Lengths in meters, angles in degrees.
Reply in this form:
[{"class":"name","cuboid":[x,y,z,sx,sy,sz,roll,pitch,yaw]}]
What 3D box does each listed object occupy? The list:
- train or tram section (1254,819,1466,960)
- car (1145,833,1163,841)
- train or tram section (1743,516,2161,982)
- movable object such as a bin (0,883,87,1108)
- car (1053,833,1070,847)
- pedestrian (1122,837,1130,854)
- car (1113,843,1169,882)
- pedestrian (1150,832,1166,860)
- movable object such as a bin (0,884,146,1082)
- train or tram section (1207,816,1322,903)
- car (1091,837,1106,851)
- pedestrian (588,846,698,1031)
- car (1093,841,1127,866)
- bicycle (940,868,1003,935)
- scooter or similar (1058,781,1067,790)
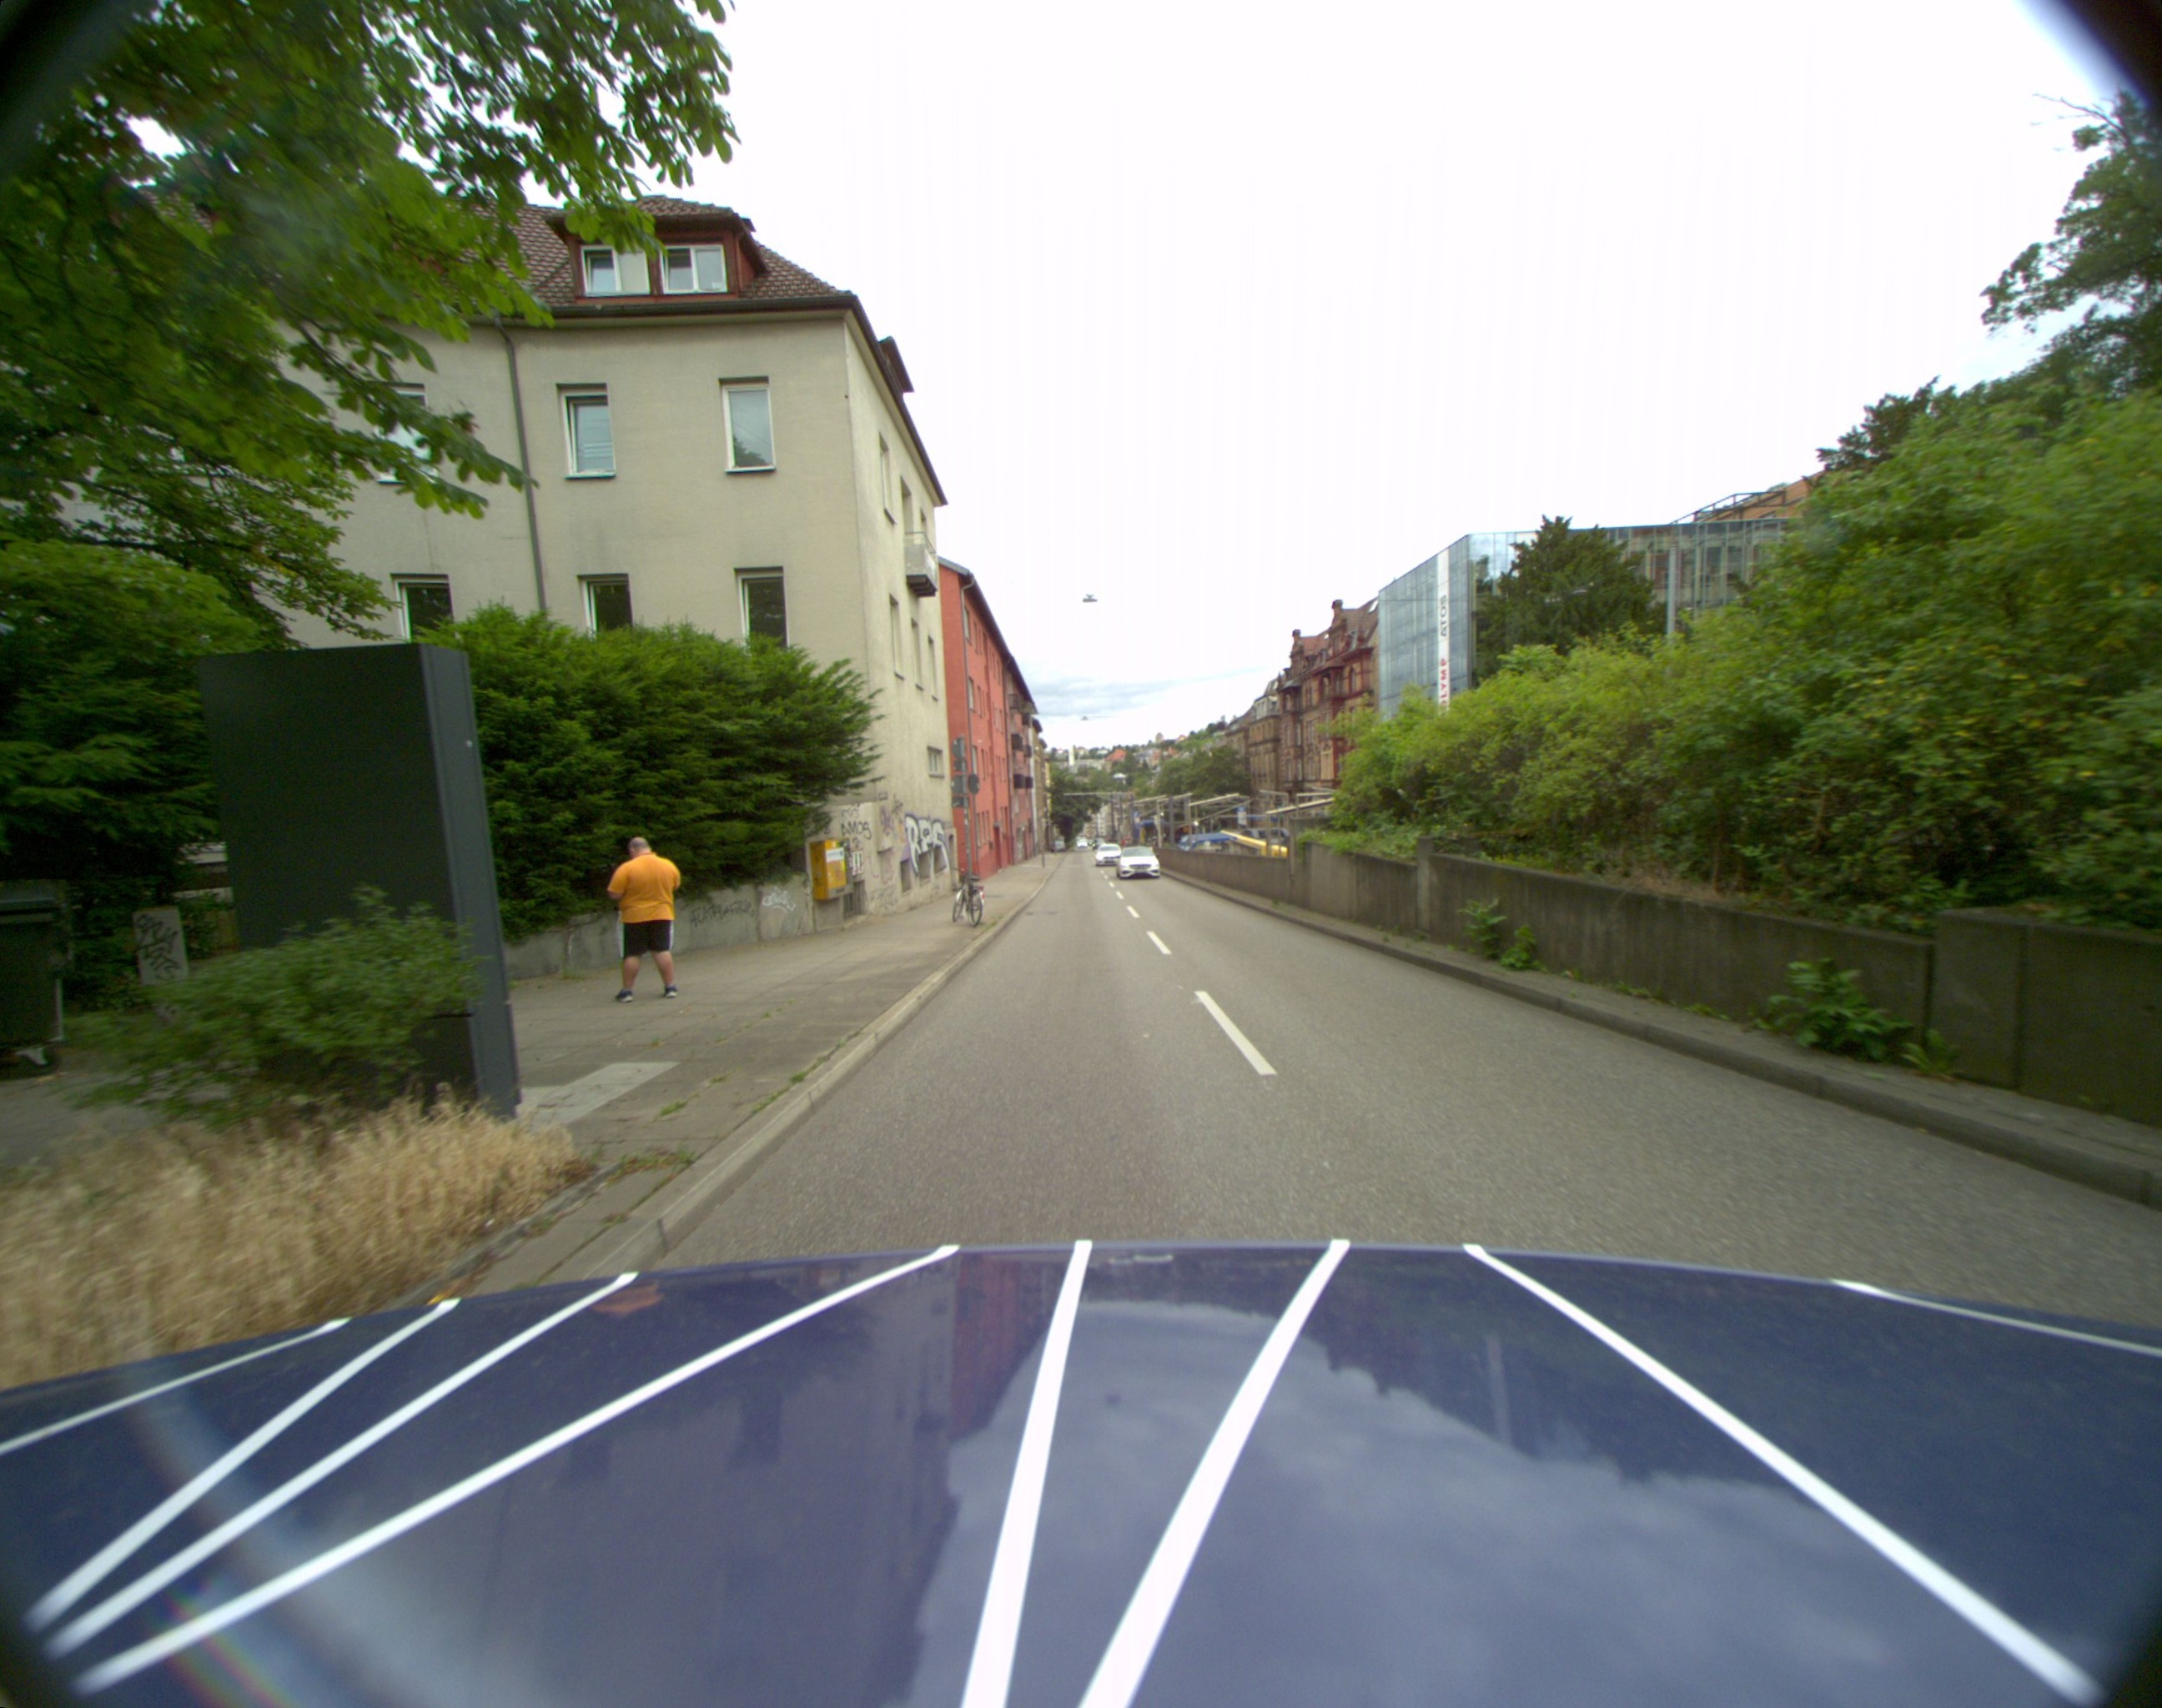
[{"class":"train or tram section","cuboid":[9.272,0.739,27.560,2.957,3.454,12.206,-2,5,-1]},{"class":"car","cuboid":[18.075,-4.209,187.865,3.859,1.804,1.782,-3,2,-15]},{"class":"train or tram section","cuboid":[9.657,-0.675,2.738,2.957,3.490,12.977,-2,3,-1]},{"class":"movable object such as a bin","cuboid":[-8.069,1.017,5.339,0.841,1.527,1.152,1,3,45]},{"class":"car","cuboid":[-2.471,-1.739,96.859,1.862,1.702,4.307,-1,1,1]},{"class":"pedestrian","cuboid":[4.798,-0.906,80.350,0.680,1.671,0.685,-3,2,-2]},{"class":"car","cuboid":[2.702,0.325,35.111,1.999,1.390,4.227,-4,3,-2]},{"class":"pedestrian","cuboid":[5.039,-0.498,49.595,0.818,1.767,0.802,-3,2,-3]},{"class":"movable object such as a bin","cuboid":[-8.631,1.025,6.400,1.075,1.478,0.813,1,2,45]},{"class":"train or tram section","cuboid":[9.161,-0.072,39.842,2.957,3.525,12.389,-3,4,0]},{"class":"car","cuboid":[2.417,-1.396,105.564,1.881,1.728,3.999,-2,1,2]},{"class":"pedestrian","cuboid":[-4.393,0.782,7.604,0.837,1.703,0.819,-2,2,-34]},{"class":"car","cuboid":[1.977,-0.092,52.124,1.999,1.479,4.228,-5,1,-1]},{"class":"bicycle","cuboid":[-2.165,0.876,14.802,0.641,1.137,2.061,-2,2,-24]},{"class":"scooter or similar","cuboid":[-2.642,-9.868,109.533,1.199,1.266,0.629,1,2,-9]}]
